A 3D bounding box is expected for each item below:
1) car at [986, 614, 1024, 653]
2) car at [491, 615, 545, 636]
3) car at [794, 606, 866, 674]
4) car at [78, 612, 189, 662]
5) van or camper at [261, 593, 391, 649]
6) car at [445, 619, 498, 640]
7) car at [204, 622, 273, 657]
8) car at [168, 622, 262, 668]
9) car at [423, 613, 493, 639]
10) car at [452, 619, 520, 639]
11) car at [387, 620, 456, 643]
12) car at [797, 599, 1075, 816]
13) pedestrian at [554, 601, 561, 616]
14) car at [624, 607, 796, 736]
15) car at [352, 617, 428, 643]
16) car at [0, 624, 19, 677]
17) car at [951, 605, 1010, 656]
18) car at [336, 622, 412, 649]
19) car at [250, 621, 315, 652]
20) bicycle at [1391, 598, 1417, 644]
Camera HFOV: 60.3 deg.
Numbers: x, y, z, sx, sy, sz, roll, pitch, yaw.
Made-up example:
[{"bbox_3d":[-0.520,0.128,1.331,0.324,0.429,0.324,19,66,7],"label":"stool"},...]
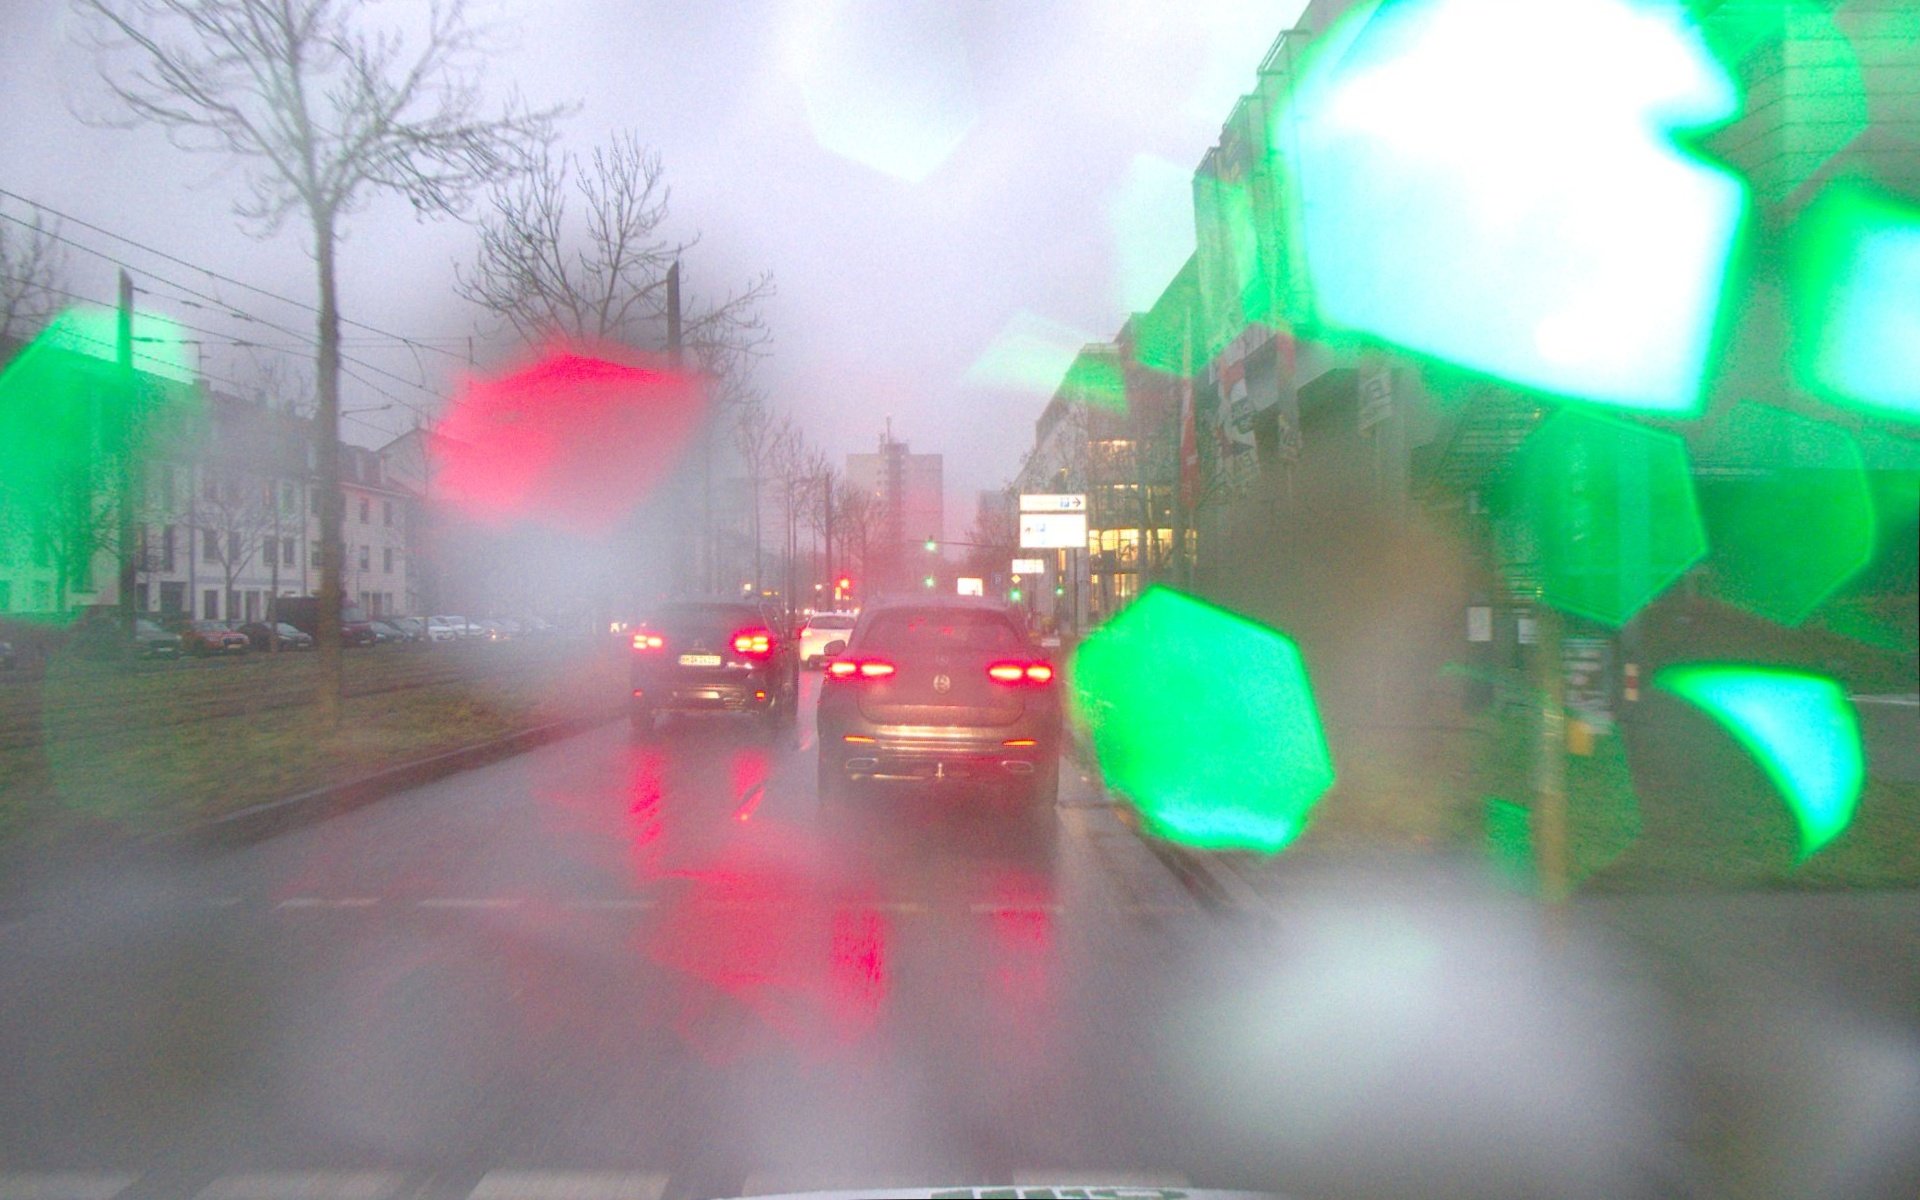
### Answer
[{"bbox_3d":[2.141,1.559,77.624,1.605,1.758,4.002,1,0,3],"label":"car"},{"bbox_3d":[-29.255,1.701,109.439,3.691,1.360,1.448,0,0,35],"label":"car"},{"bbox_3d":[-3.332,1.004,42.886,1.655,1.664,3.472,1,0,-1],"label":"car"},{"bbox_3d":[-28.195,1.243,56.395,4.078,1.568,1.664,1,0,35],"label":"car"},{"bbox_3d":[-29.393,0.958,76.571,6.736,2.401,1.994,1,0,33],"label":"van or camper"},{"bbox_3d":[-29.119,1.761,98.581,2.978,1.167,1.394,1,0,30],"label":"car"},{"bbox_3d":[-29.391,1.586,67.352,3.040,1.325,1.381,1,-1,40],"label":"car"},{"bbox_3d":[-28.398,1.708,63.002,3.776,1.616,1.734,1,0,39],"label":"car"},{"bbox_3d":[-29.026,1.508,95.619,4.041,1.402,1.766,1,0,36],"label":"car"},{"bbox_3d":[-29.179,1.786,101.795,4.098,1.135,1.678,1,0,30],"label":"car"},{"bbox_3d":[-28.857,1.679,88.639,3.344,1.167,1.688,1,0,30],"label":"car"},{"bbox_3d":[-0.211,0.786,13.644,1.953,1.509,3.699,1,-1,-1],"label":"car"},{"bbox_3d":[-31.739,0.674,130.293,0.343,1.205,0.427,2,-1,-42],"label":"pedestrian"},{"bbox_3d":[-3.112,0.843,21.307,1.781,1.476,3.997,1,0,-3],"label":"car"},{"bbox_3d":[-29.297,1.543,84.968,3.463,1.221,1.878,1,0,30],"label":"car"},{"bbox_3d":[-28.185,1.397,46.696,3.320,1.446,1.663,1,0,38],"label":"car"},{"bbox_3d":[0.692,0.962,53.222,1.828,1.570,3.611,1,0,2],"label":"car"},{"bbox_3d":[-29.173,1.737,82.310,3.463,1.233,1.744,1,0,30],"label":"car"},{"bbox_3d":[-28.542,1.523,69.671,2.835,1.225,1.381,1,0,40],"label":"car"},{"bbox_3d":[13.122,0.618,48.854,0.402,1.307,1.743,1,-1,26],"label":"bicycle"}]
